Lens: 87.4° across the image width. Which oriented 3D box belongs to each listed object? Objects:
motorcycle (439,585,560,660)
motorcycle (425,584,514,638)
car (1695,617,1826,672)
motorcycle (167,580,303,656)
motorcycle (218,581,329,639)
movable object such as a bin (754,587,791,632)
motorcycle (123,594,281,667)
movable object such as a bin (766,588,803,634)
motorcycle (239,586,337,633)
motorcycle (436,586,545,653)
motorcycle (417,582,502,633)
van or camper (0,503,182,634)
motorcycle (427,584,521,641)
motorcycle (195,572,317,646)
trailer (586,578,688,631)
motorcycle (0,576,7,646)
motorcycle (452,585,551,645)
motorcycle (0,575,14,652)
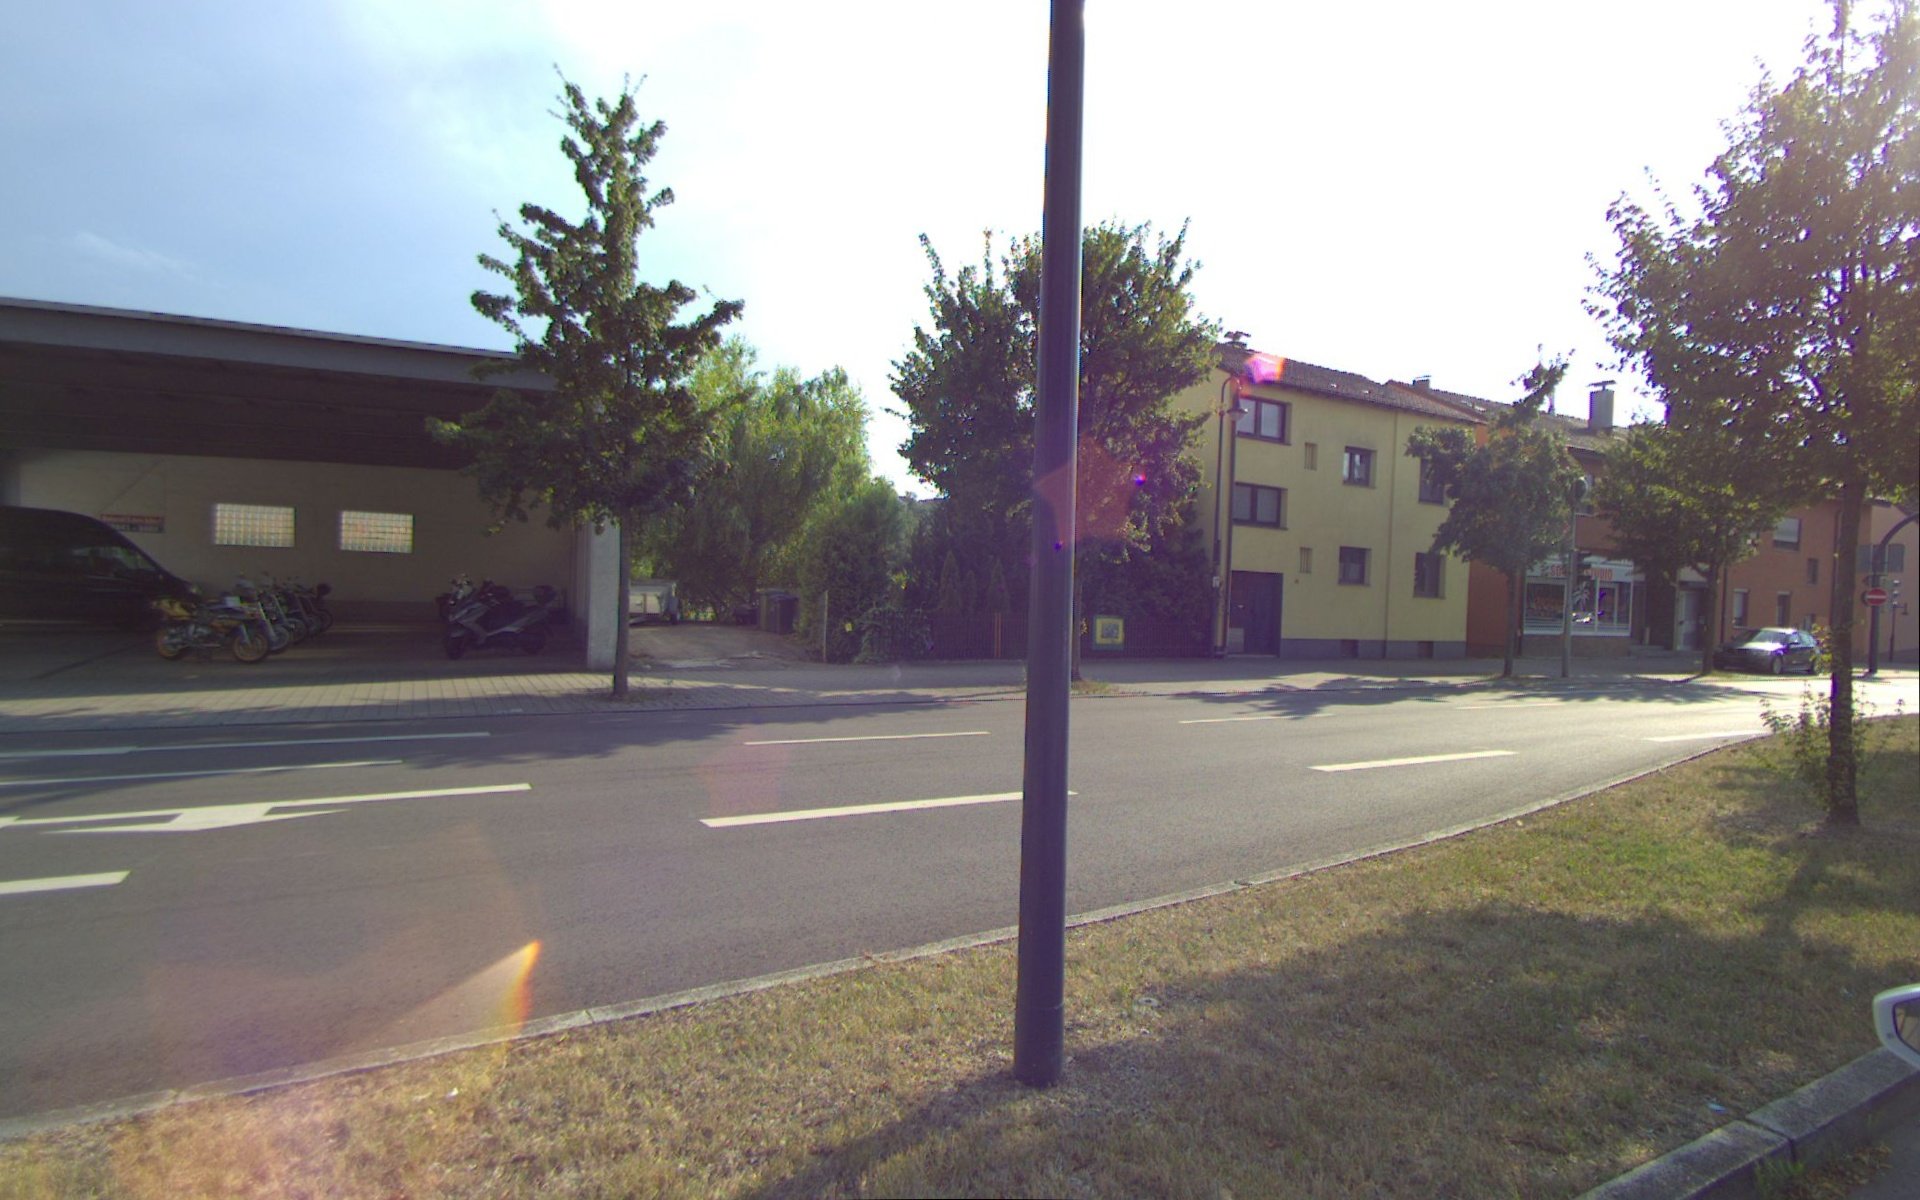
[{"bbox_3d":[-8.627,0.420,18.923,0.553,1.325,2.112,1,0,30],"label":"motorcycle"},{"bbox_3d":[-12.567,0.273,25.805,0.553,1.325,2.086,1,0,30],"label":"motorcycle"},{"bbox_3d":[26.011,1.435,32.626,3.949,1.573,1.836,1,2,-27],"label":"car"},{"bbox_3d":[-13.545,0.326,18.780,2.111,1.347,0.563,1,0,0],"label":"motorcycle"},{"bbox_3d":[-15.830,0.227,23.182,2.111,1.275,0.647,1,0,0],"label":"motorcycle"},{"bbox_3d":[-4.780,0.240,25.594,0.712,1.101,0.727,1,3,-30],"label":"movable object such as a bin"},{"bbox_3d":[-12.508,0.492,16.601,2.111,1.139,0.631,1,0,0],"label":"motorcycle"},{"bbox_3d":[-4.339,0.269,24.822,0.688,1.101,0.727,1,3,-30],"label":"movable object such as a bin"},{"bbox_3d":[-17.067,0.239,25.530,2.111,1.138,0.563,1,0,0],"label":"motorcycle"},{"bbox_3d":[-9.666,0.396,20.784,0.553,1.325,2.086,1,0,30],"label":"motorcycle"},{"bbox_3d":[-13.509,0.208,27.173,0.553,1.325,2.086,1,0,30],"label":"motorcycle"},{"bbox_3d":[-20.464,-0.668,22.019,1.963,2.716,5.032,1,0,27],"label":"van or camper"},{"bbox_3d":[-11.800,0.313,24.463,0.573,1.325,2.086,1,0,30],"label":"motorcycle"},{"bbox_3d":[-14.709,0.192,21.012,2.111,1.468,0.594,1,0,0],"label":"motorcycle"},{"bbox_3d":[-8.114,0.069,25.529,1.692,1.199,3.594,1,1,-5],"label":"trailer"},{"bbox_3d":[-18.635,0.189,18.102,0.637,1.329,2.007,1,0,23],"label":"motorcycle"},{"bbox_3d":[-10.477,0.340,23.051,0.612,1.325,2.086,1,0,30],"label":"motorcycle"},{"bbox_3d":[-17.240,0.222,16.774,0.637,1.329,2.007,1,0,23],"label":"motorcycle"}]
